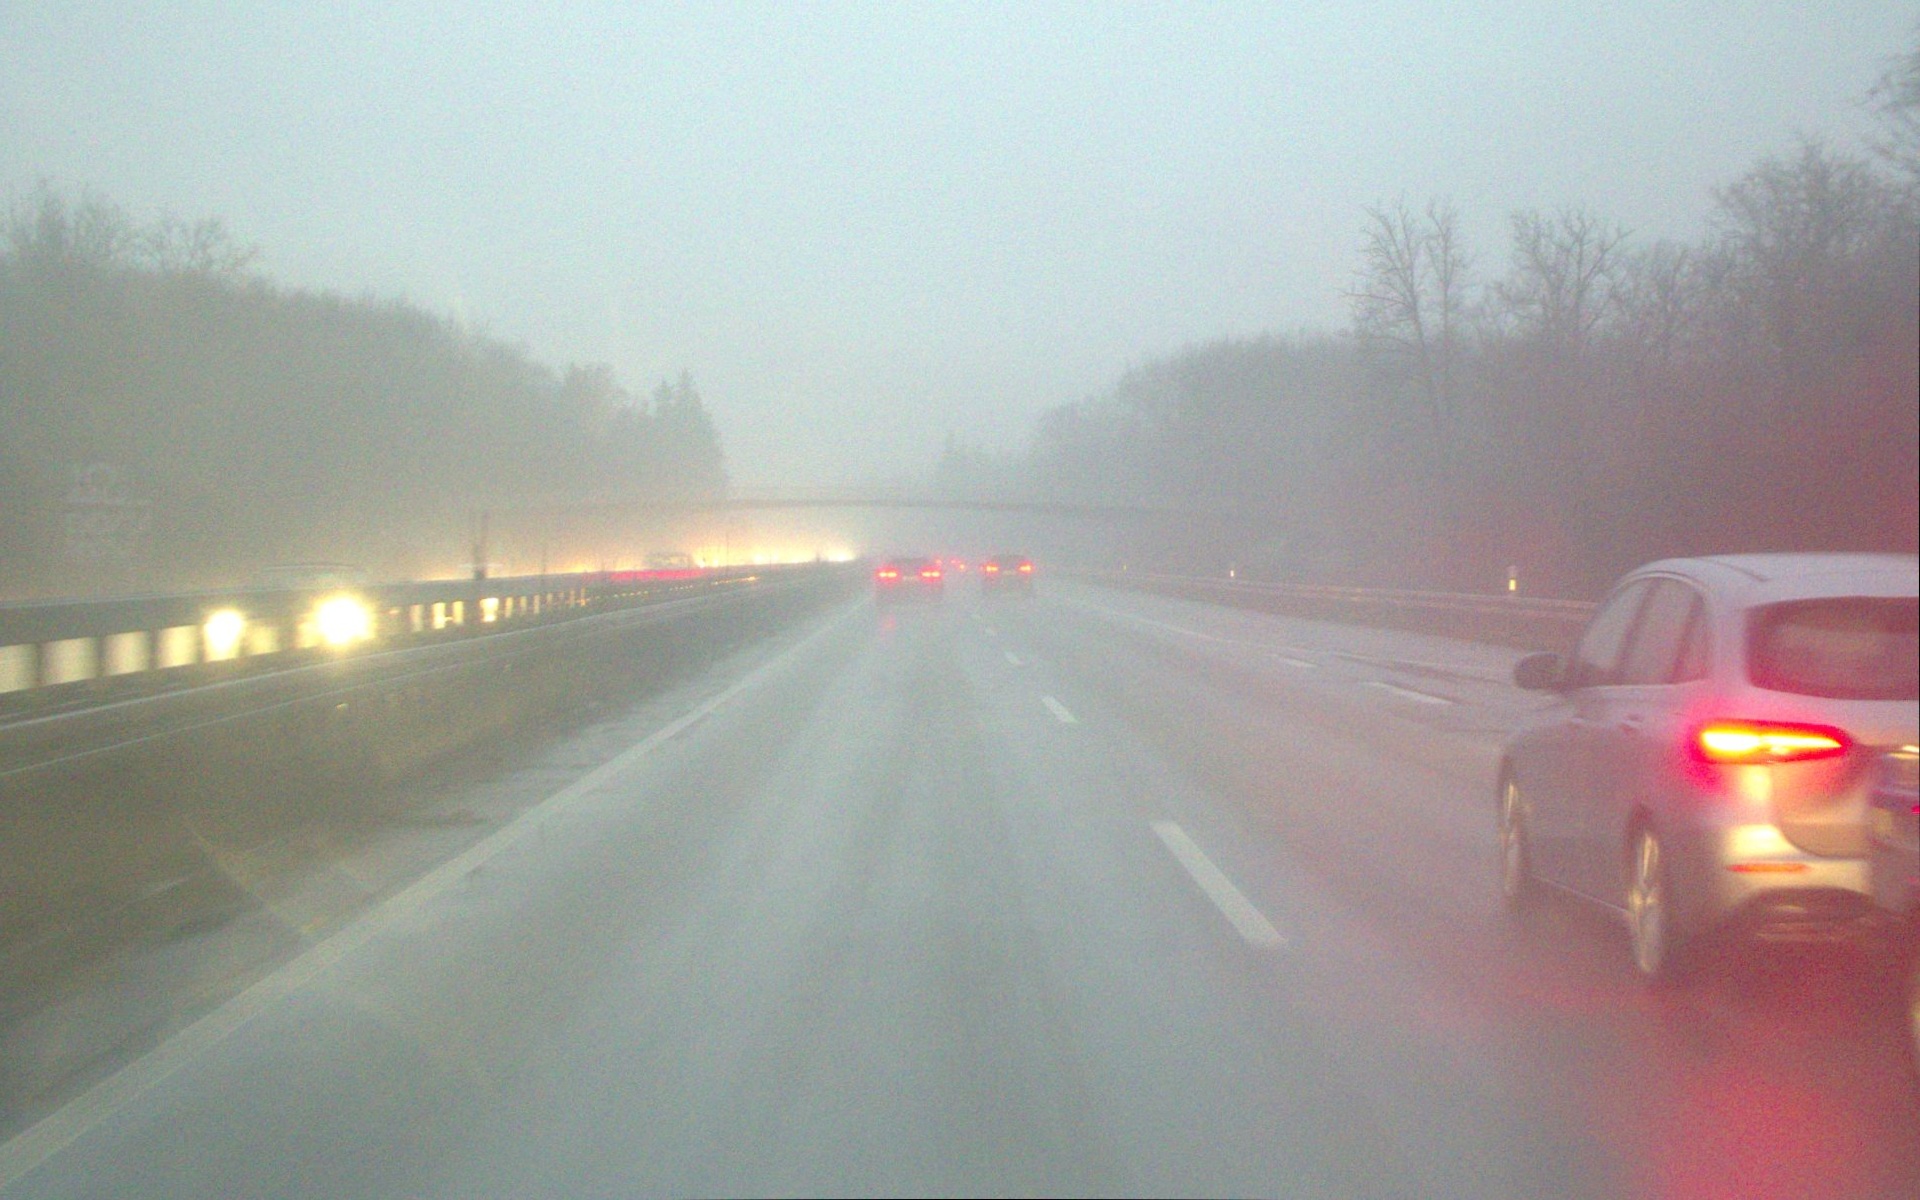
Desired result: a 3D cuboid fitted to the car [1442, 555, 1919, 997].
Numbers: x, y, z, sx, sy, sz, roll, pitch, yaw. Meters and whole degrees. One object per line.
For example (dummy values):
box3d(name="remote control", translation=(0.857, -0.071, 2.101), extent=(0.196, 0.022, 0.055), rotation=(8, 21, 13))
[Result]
box3d(name="car", translation=(3.114, 0.582, 13.746), extent=(1.786, 1.511, 3.811), rotation=(0, 1, -1))

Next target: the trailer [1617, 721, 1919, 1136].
box3d(name="trailer", translation=(3.152, 0.897, 10.347), extent=(1.748, 0.922, 2.951), rotation=(0, 1, -1))
